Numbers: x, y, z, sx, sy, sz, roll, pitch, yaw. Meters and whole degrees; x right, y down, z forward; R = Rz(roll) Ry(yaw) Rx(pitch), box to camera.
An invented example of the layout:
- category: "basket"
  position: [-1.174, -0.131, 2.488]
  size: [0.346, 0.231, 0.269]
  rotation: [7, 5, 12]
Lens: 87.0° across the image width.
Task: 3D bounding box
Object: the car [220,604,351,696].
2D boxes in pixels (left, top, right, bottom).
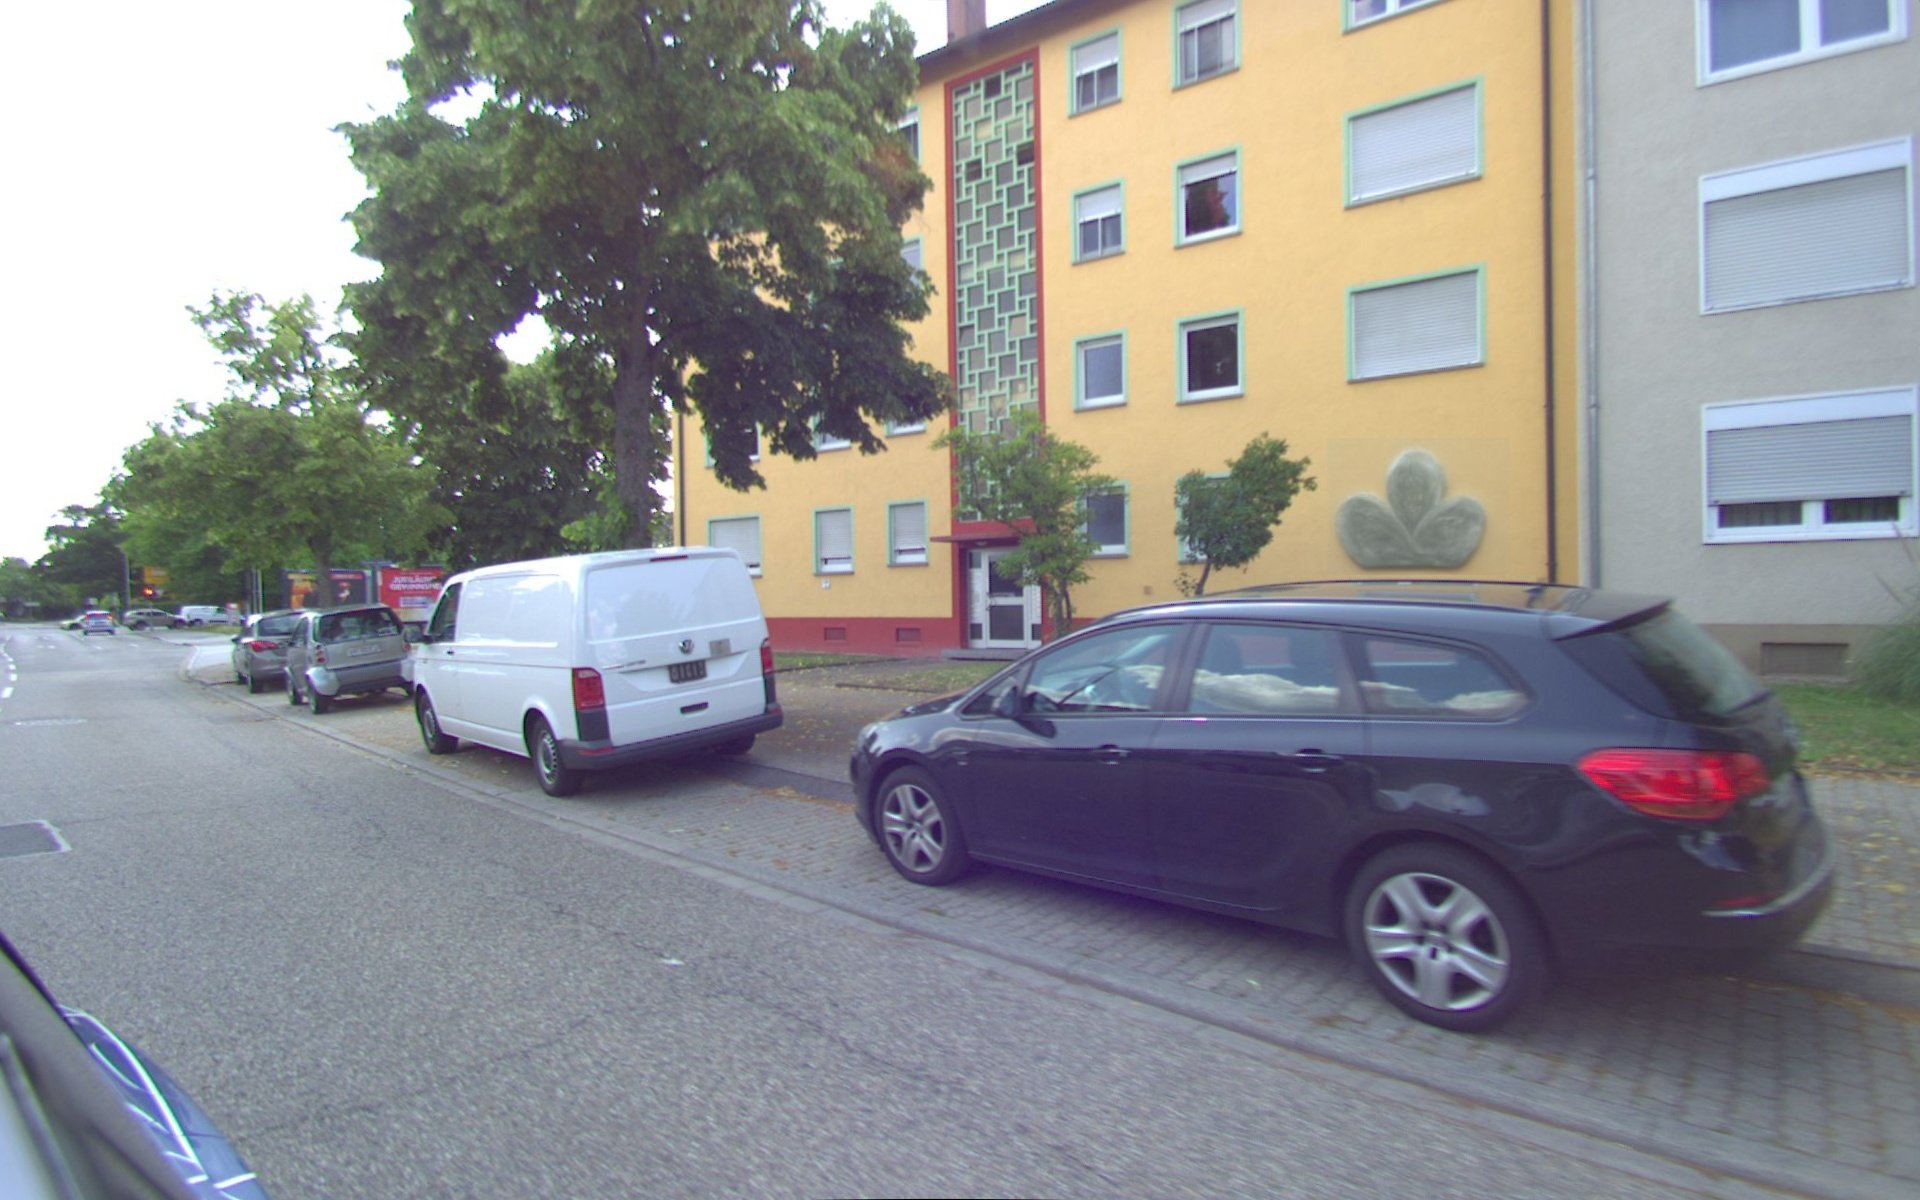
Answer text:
- category: "car"
  position: [-13.585, 0.918, 20.289]
  size: [1.663, 1.497, 3.990]
  rotation: [-5, 4, -40]

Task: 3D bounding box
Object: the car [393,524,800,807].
- category: "car"
  position: [-3.818, 0.509, 9.862]
  size: [1.856, 2.025, 5.329]
  rotation: [0, -1, -42]

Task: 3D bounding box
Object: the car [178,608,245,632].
- category: "car"
  position: [-67.020, 1.796, 90.673]
  size: [1.725, 1.967, 4.481]
  rotation: [-1, 0, 36]

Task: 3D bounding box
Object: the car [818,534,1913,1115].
- category: "car"
  position: [1.421, 0.596, 4.815]
  size: [4.506, 1.500, 1.741]
  rotation: [-1, 0, 44]

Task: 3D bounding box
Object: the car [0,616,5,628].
- category: "car"
  position: [-131.106, 2.981, 137.565]
  size: [1.705, 1.439, 4.003]
  rotation: [0, 1, -45]

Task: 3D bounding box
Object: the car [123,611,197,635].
- category: "car"
  position: [-66.435, 1.873, 84.095]
  size: [1.725, 1.790, 4.481]
  rotation: [-1, 0, 36]

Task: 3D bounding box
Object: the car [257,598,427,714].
- category: "car"
  position: [-10.276, 0.863, 16.715]
  size: [1.500, 1.560, 3.758]
  rotation: [-8, 4, -43]

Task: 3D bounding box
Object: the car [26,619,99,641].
- category: "car"
  position: [-79.192, 2.611, 89.320]
  size: [1.722, 1.790, 4.489]
  rotation: [-1, 0, 30]

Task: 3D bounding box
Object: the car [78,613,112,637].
- category: "car"
  position: [-56.718, 1.631, 66.343]
  size: [1.535, 1.528, 3.613]
  rotation: [-1, 0, -43]
